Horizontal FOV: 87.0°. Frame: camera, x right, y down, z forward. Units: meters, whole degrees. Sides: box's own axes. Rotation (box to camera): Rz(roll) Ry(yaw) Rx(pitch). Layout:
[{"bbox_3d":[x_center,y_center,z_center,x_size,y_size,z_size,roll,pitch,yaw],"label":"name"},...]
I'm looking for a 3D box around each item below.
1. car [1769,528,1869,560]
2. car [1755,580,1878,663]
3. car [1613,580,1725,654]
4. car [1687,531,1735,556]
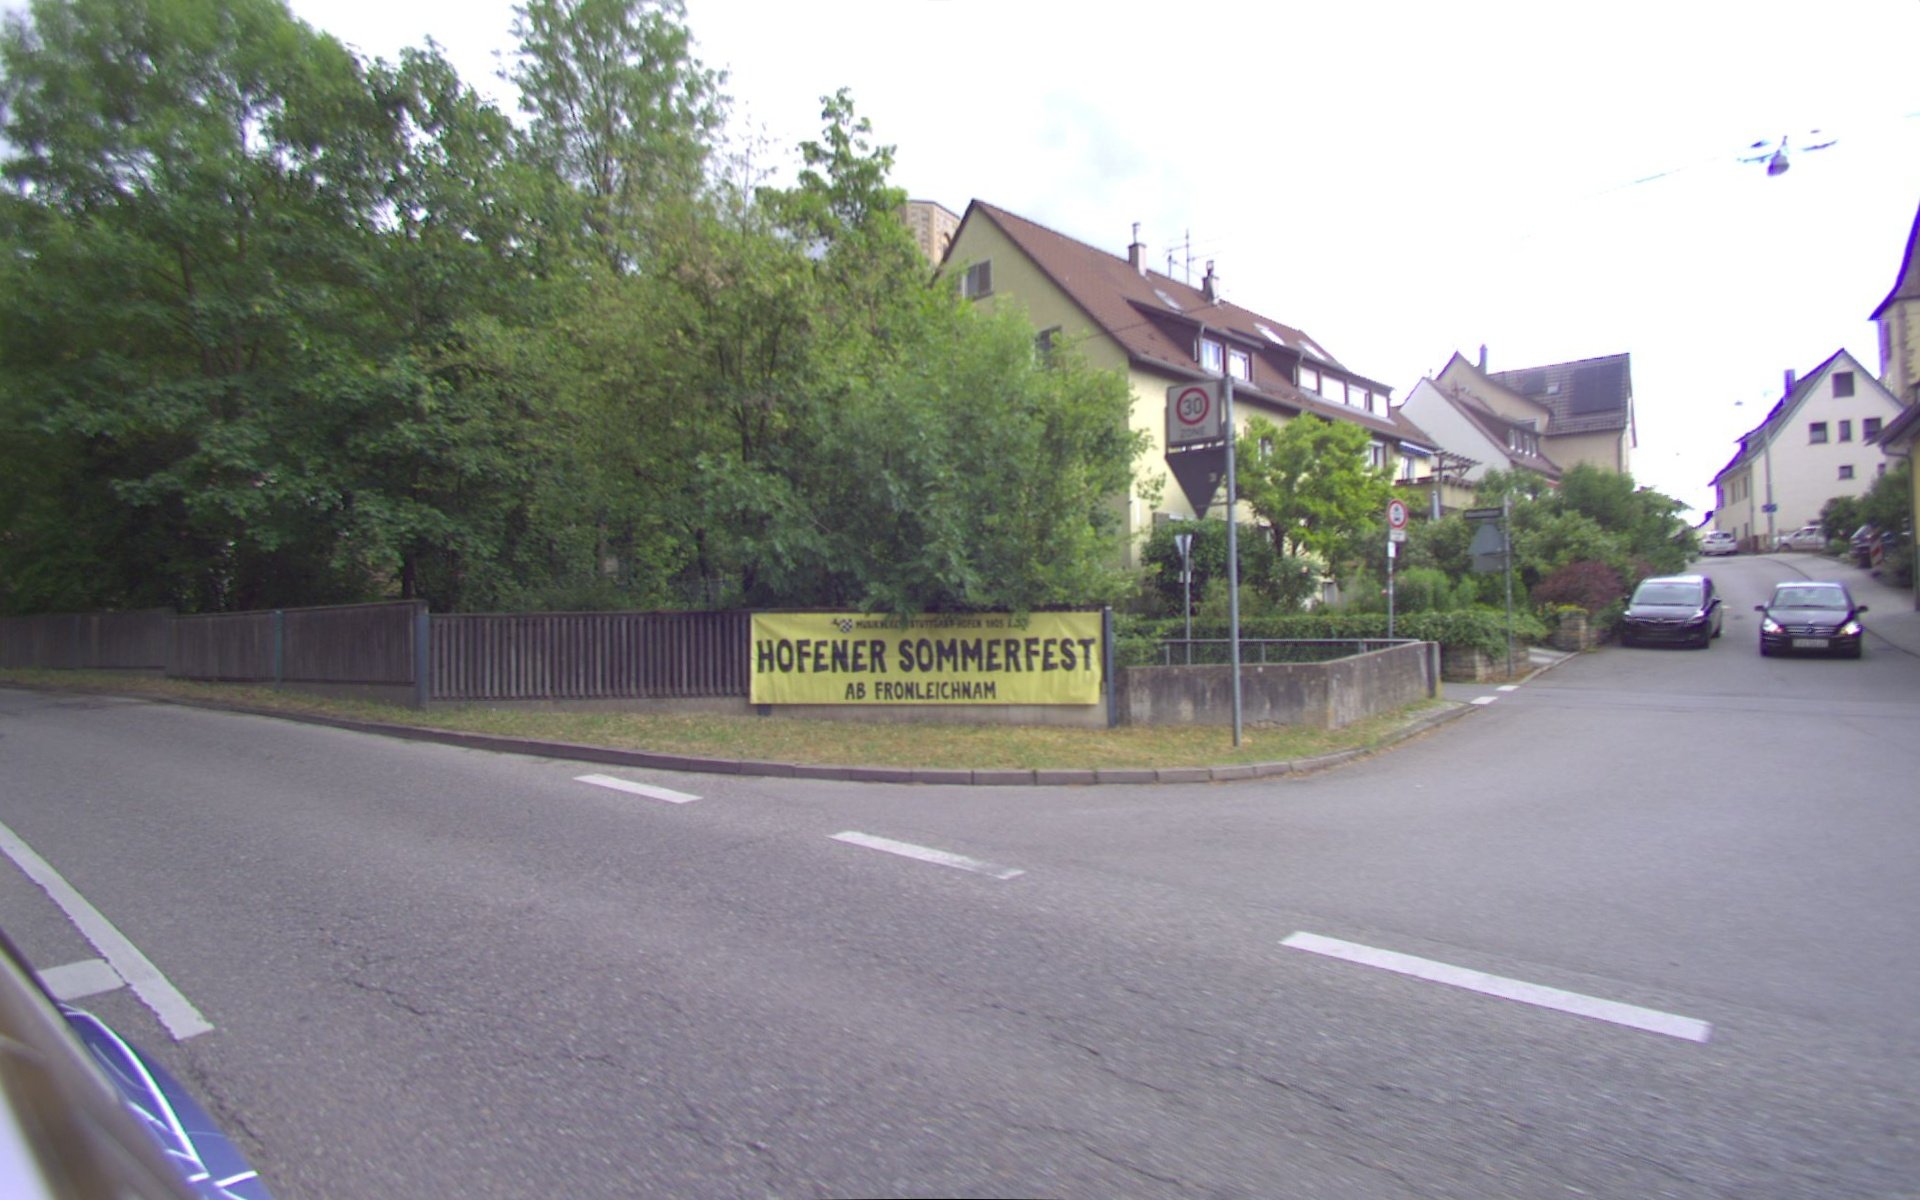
[{"bbox_3d":[48.290,-3.131,57.015,3.984,1.603,1.980,-1,1,30],"label":"car"},{"bbox_3d":[19.325,0.436,22.881,1.944,1.608,3.946,-2,1,41],"label":"car"},{"bbox_3d":[17.973,0.364,25.575,1.944,1.608,3.946,-1,2,41],"label":"car"},{"bbox_3d":[47.054,-3.531,63.487,1.993,1.541,3.958,3,4,31],"label":"car"}]
